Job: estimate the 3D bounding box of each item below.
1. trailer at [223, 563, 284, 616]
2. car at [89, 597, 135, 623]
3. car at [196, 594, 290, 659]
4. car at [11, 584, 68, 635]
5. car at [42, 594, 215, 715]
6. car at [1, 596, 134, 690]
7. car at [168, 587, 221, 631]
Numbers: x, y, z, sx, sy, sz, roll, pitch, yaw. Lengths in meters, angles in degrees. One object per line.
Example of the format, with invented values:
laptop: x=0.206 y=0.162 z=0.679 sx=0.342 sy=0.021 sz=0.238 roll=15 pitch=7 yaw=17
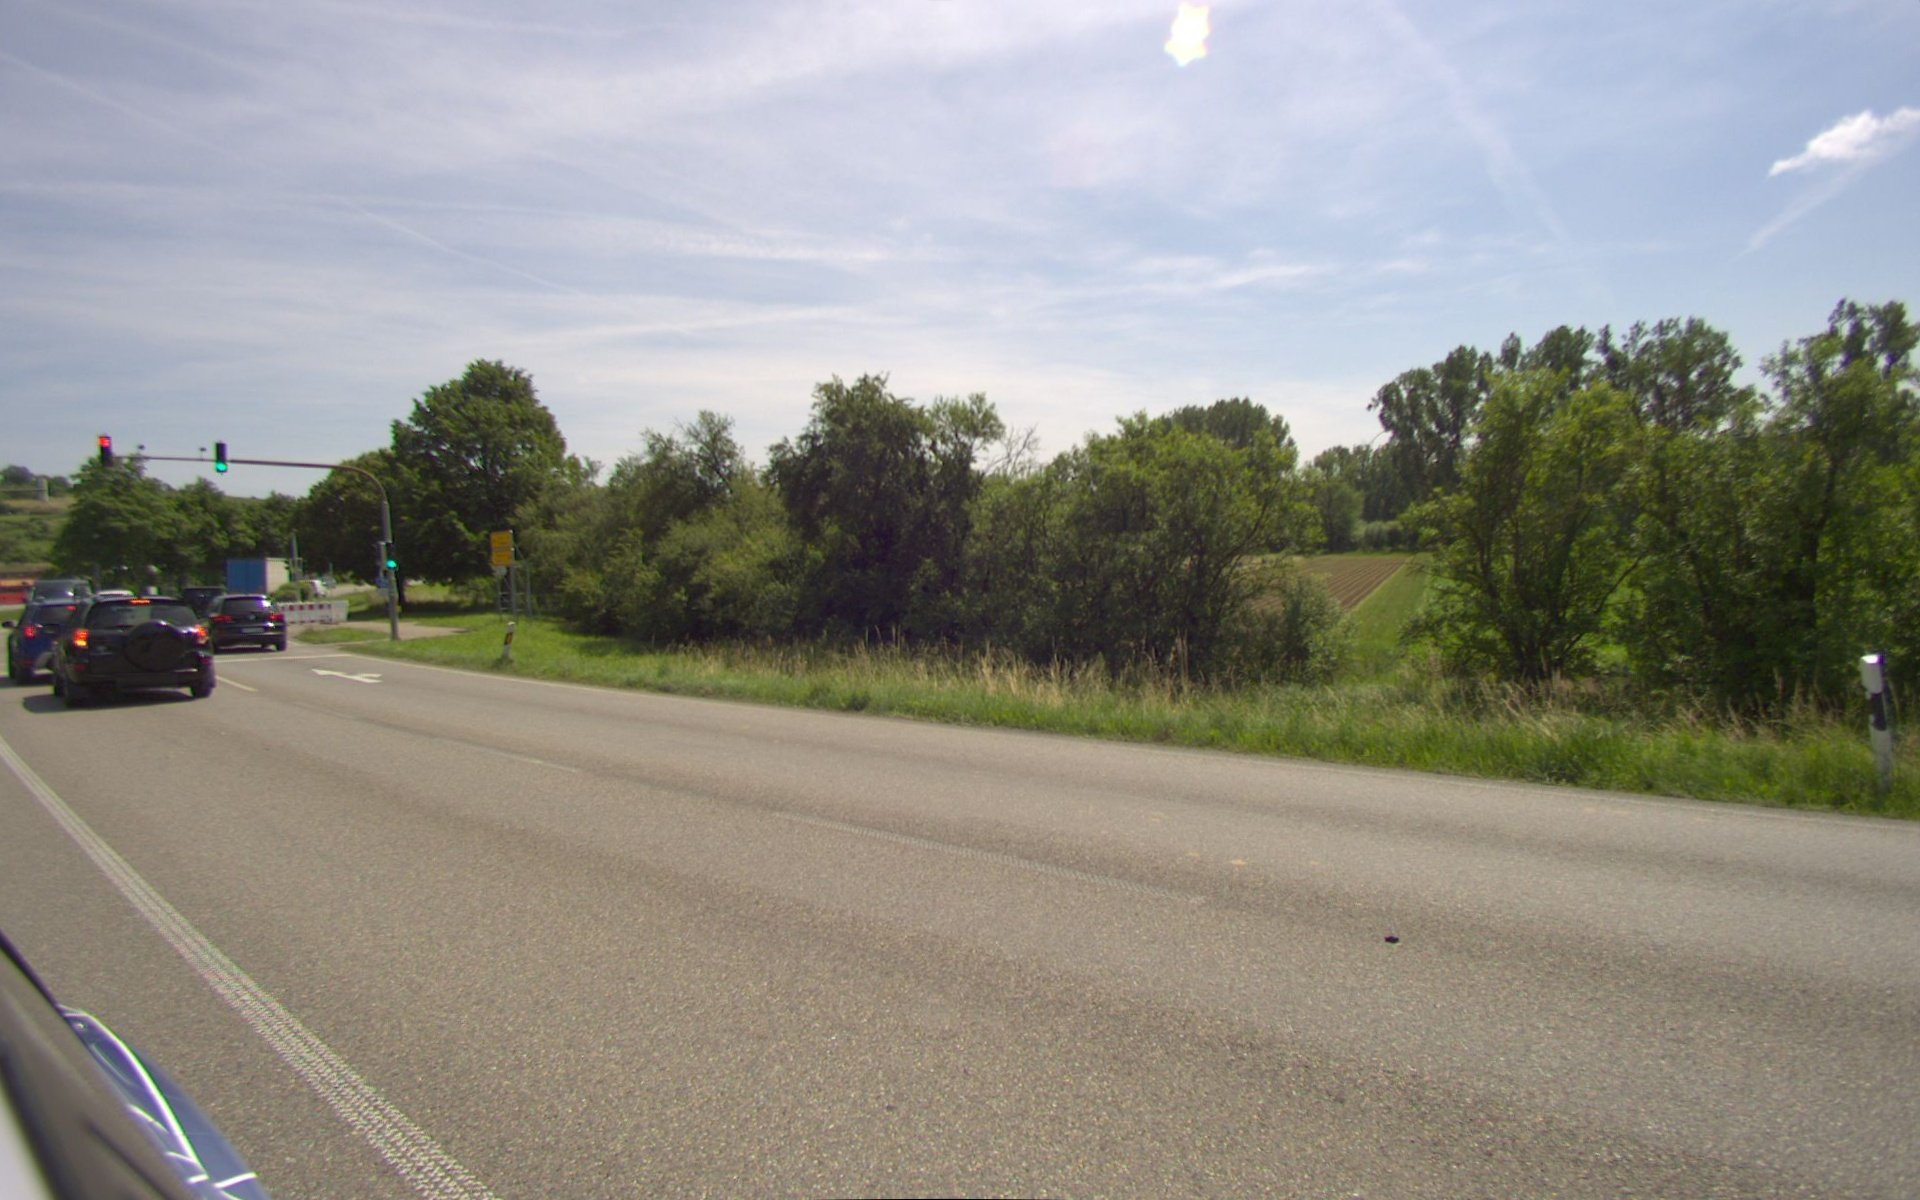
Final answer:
trailer: x=-58.364 y=-0.830 z=83.884 sx=2.531 sy=4.060 sz=13.637 roll=-2 pitch=1 yaw=-29
car: x=-56.532 y=0.654 z=67.517 sx=1.754 sy=1.504 sz=4.170 roll=-2 pitch=3 yaw=-32
car: x=-20.945 y=0.712 z=29.516 sx=1.968 sy=1.708 sz=4.008 roll=-1 pitch=1 yaw=-39
car: x=-49.140 y=0.444 z=54.108 sx=1.951 sy=2.537 sz=4.165 roll=-3 pitch=3 yaw=-39
car: x=-13.464 y=0.761 z=16.309 sx=1.751 sy=1.671 sz=4.002 roll=-2 pitch=2 yaw=-45
car: x=-18.180 y=0.775 z=20.558 sx=4.002 sy=1.671 sz=1.751 roll=0 pitch=2 yaw=45
car: x=-38.439 y=0.388 z=50.821 sx=1.968 sy=2.021 sz=5.175 roll=-2 pitch=2 yaw=-37
